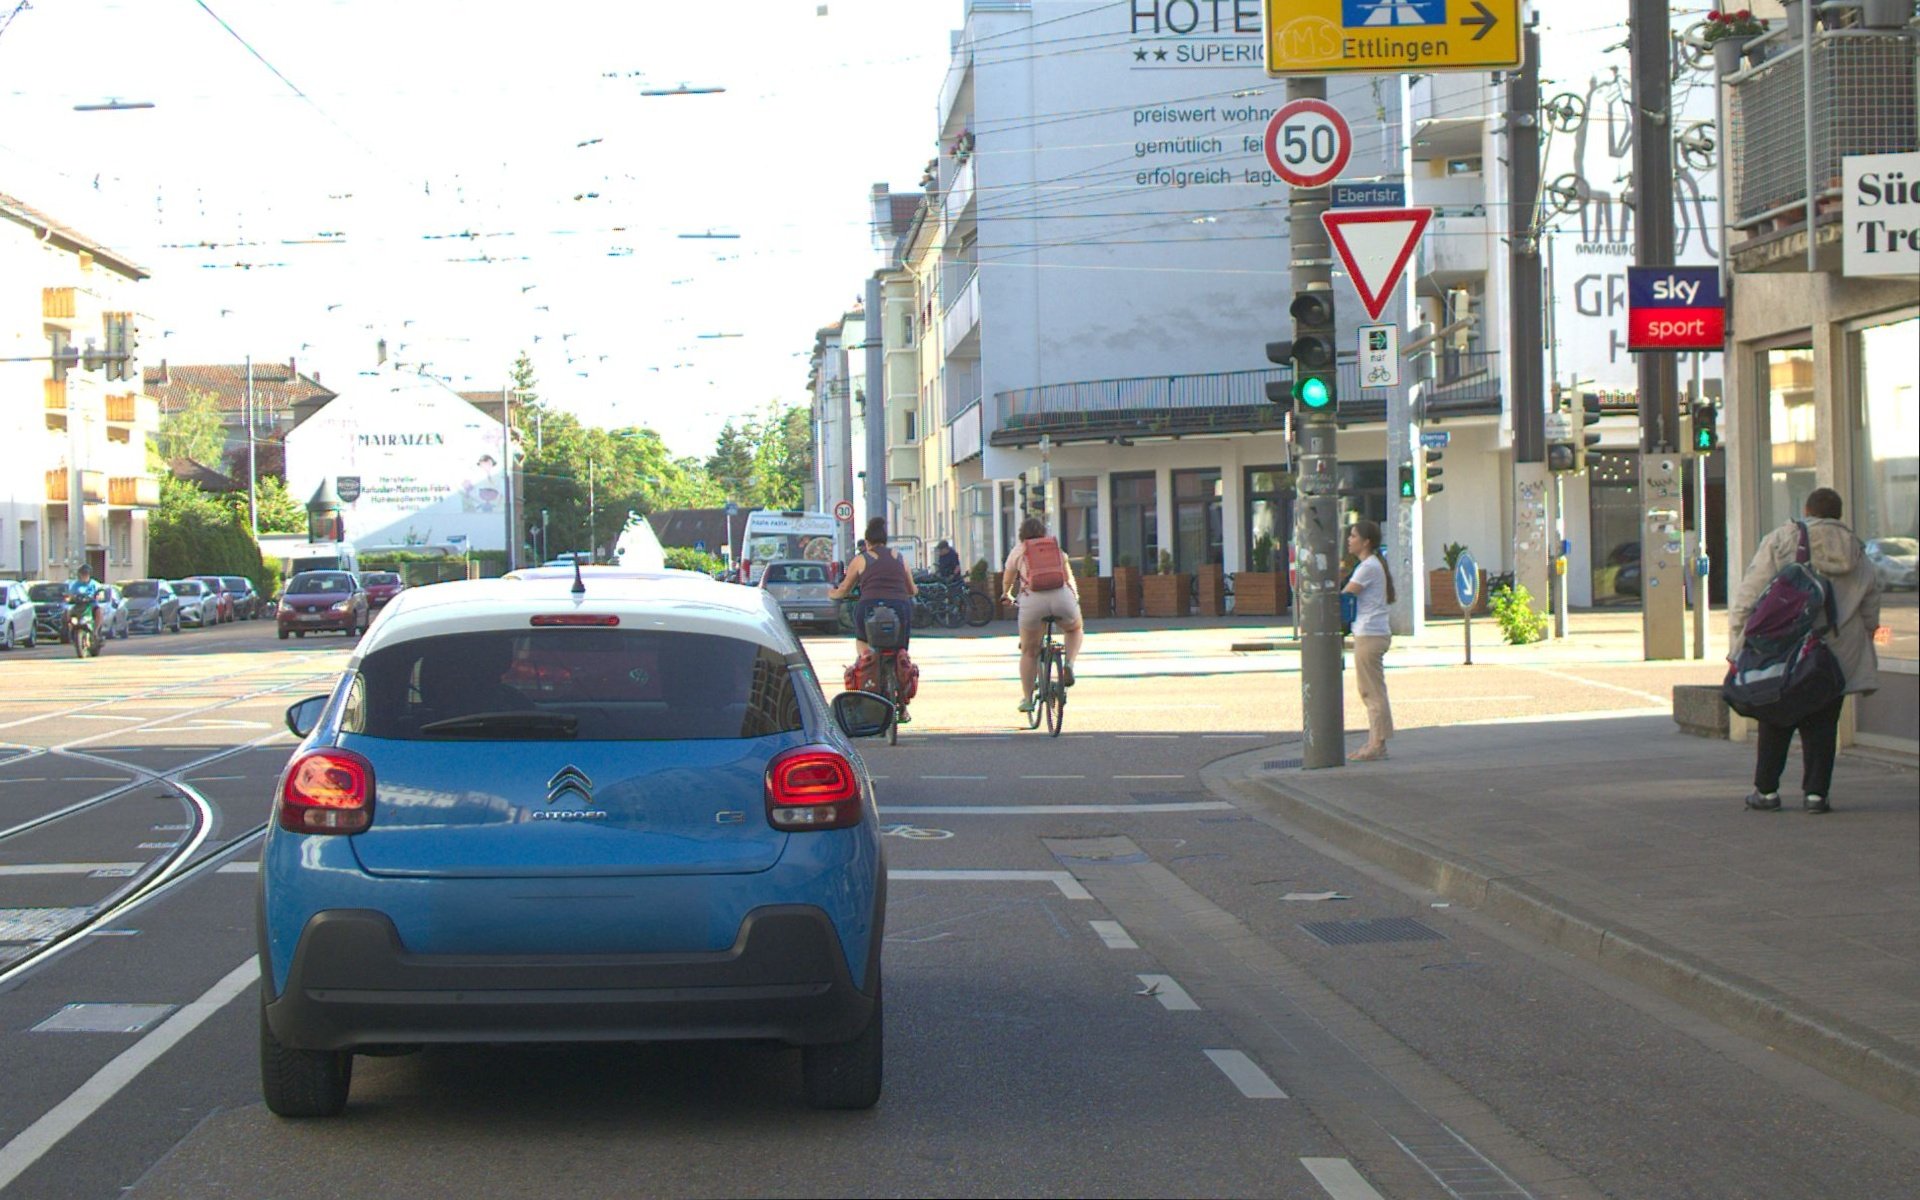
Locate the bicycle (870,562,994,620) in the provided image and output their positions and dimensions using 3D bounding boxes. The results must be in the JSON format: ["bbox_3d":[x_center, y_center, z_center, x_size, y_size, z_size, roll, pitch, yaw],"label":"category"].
[{"bbox_3d":[-0.540,-0.168,65.245,2.251,0.998,0.856,-3,1,-4],"label":"bicycle"}]

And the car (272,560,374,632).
[{"bbox_3d":[-13.859,-0.101,74.978,1.778,1.481,3.829,-2,1,-5],"label":"car"}]

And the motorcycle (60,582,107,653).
[{"bbox_3d":[-15.512,0.322,60.808,0.711,1.216,1.966,-1,-1,-16],"label":"motorcycle"}]

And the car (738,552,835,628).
[{"bbox_3d":[-3.418,-0.204,67.157,1.657,1.426,3.889,1,0,-6],"label":"car"}]

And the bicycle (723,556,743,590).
[{"bbox_3d":[-11.456,-1.356,173.787,0.791,1.664,2.230,1,0,1],"label":"bicycle"}]

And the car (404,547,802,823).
[{"bbox_3d":[-2.307,0.456,21.330,1.784,1.516,3.763,1,1,-16],"label":"car"}]

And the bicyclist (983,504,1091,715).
[{"bbox_3d":[0.635,0.072,28.040,0.811,1.686,0.935,1,0,5],"label":"bicyclist"}]

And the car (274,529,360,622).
[{"bbox_3d":[-22.215,-0.853,118.843,2.417,3.131,3.489,1,0,-3],"label":"car"}]

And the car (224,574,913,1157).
[{"bbox_3d":[-1.294,0.650,10.544,1.736,1.447,3.663,0,0,-10],"label":"car"}]

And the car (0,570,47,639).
[{"bbox_3d":[-22.249,0.080,78.793,1.741,1.521,4.230,1,0,-3],"label":"car"}]

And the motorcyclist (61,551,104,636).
[{"bbox_3d":[-15.550,-0.112,60.926,0.693,1.491,0.684,-1,-1,-16],"label":"motorcyclist"}]

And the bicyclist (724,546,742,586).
[{"bbox_3d":[-11.452,-1.705,173.787,0.791,2.018,0.986,1,0,2],"label":"bicyclist"}]

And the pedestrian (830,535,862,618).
[{"bbox_3d":[-2.281,-0.479,69.101,0.613,1.648,0.671,1,0,-1],"label":"pedestrian"}]

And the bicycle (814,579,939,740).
[{"bbox_3d":[-0.659,0.450,27.429,0.940,1.219,2.095,1,0,-1],"label":"bicycle"}]

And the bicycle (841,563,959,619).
[{"bbox_3d":[-1.187,-0.184,67.715,2.251,0.998,0.856,-3,1,-4],"label":"bicycle"}]

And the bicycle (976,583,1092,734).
[{"bbox_3d":[0.622,0.454,28.031,0.811,1.177,2.064,1,0,5],"label":"bicycle"}]

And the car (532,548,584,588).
[{"bbox_3d":[-19.807,-1.583,169.629,2.218,1.925,4.950,1,0,-3],"label":"car"}]

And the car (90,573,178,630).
[{"bbox_3d":[-23.479,0.026,97.830,1.869,1.571,4.001,1,0,-5],"label":"car"}]

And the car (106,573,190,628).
[{"bbox_3d":[-24.103,-0.010,102.178,1.869,1.571,4.001,1,0,-5],"label":"car"}]

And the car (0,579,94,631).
[{"bbox_3d":[-23.014,0.101,85.881,1.946,1.235,4.283,1,0,-4],"label":"car"}]

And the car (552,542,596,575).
[{"bbox_3d":[-20.954,-2.246,186.897,2.074,1.756,5.037,1,0,-3],"label":"car"}]

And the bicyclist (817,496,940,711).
[{"bbox_3d":[-0.646,0.027,27.363,0.940,1.667,1.079,1,0,-1],"label":"bicyclist"}]

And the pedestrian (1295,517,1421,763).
[{"bbox_3d":[2.725,0.271,23.503,0.540,1.618,0.732,-6,-2,22],"label":"pedestrian"}]

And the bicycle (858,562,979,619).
[{"bbox_3d":[-0.815,-0.190,66.615,2.251,0.998,0.856,-3,1,-4],"label":"bicycle"}]

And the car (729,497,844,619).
[{"bbox_3d":[-3.692,-0.877,72.278,2.265,2.473,5.009,0,0,-5],"label":"car"}]

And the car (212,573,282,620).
[{"bbox_3d":[-24.581,-0.122,118.608,1.869,1.571,4.001,1,0,-5],"label":"car"}]

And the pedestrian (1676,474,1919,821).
[{"bbox_3d":[4.078,0.214,16.665,0.884,1.586,0.811,-4,2,-8],"label":"pedestrian"}]
